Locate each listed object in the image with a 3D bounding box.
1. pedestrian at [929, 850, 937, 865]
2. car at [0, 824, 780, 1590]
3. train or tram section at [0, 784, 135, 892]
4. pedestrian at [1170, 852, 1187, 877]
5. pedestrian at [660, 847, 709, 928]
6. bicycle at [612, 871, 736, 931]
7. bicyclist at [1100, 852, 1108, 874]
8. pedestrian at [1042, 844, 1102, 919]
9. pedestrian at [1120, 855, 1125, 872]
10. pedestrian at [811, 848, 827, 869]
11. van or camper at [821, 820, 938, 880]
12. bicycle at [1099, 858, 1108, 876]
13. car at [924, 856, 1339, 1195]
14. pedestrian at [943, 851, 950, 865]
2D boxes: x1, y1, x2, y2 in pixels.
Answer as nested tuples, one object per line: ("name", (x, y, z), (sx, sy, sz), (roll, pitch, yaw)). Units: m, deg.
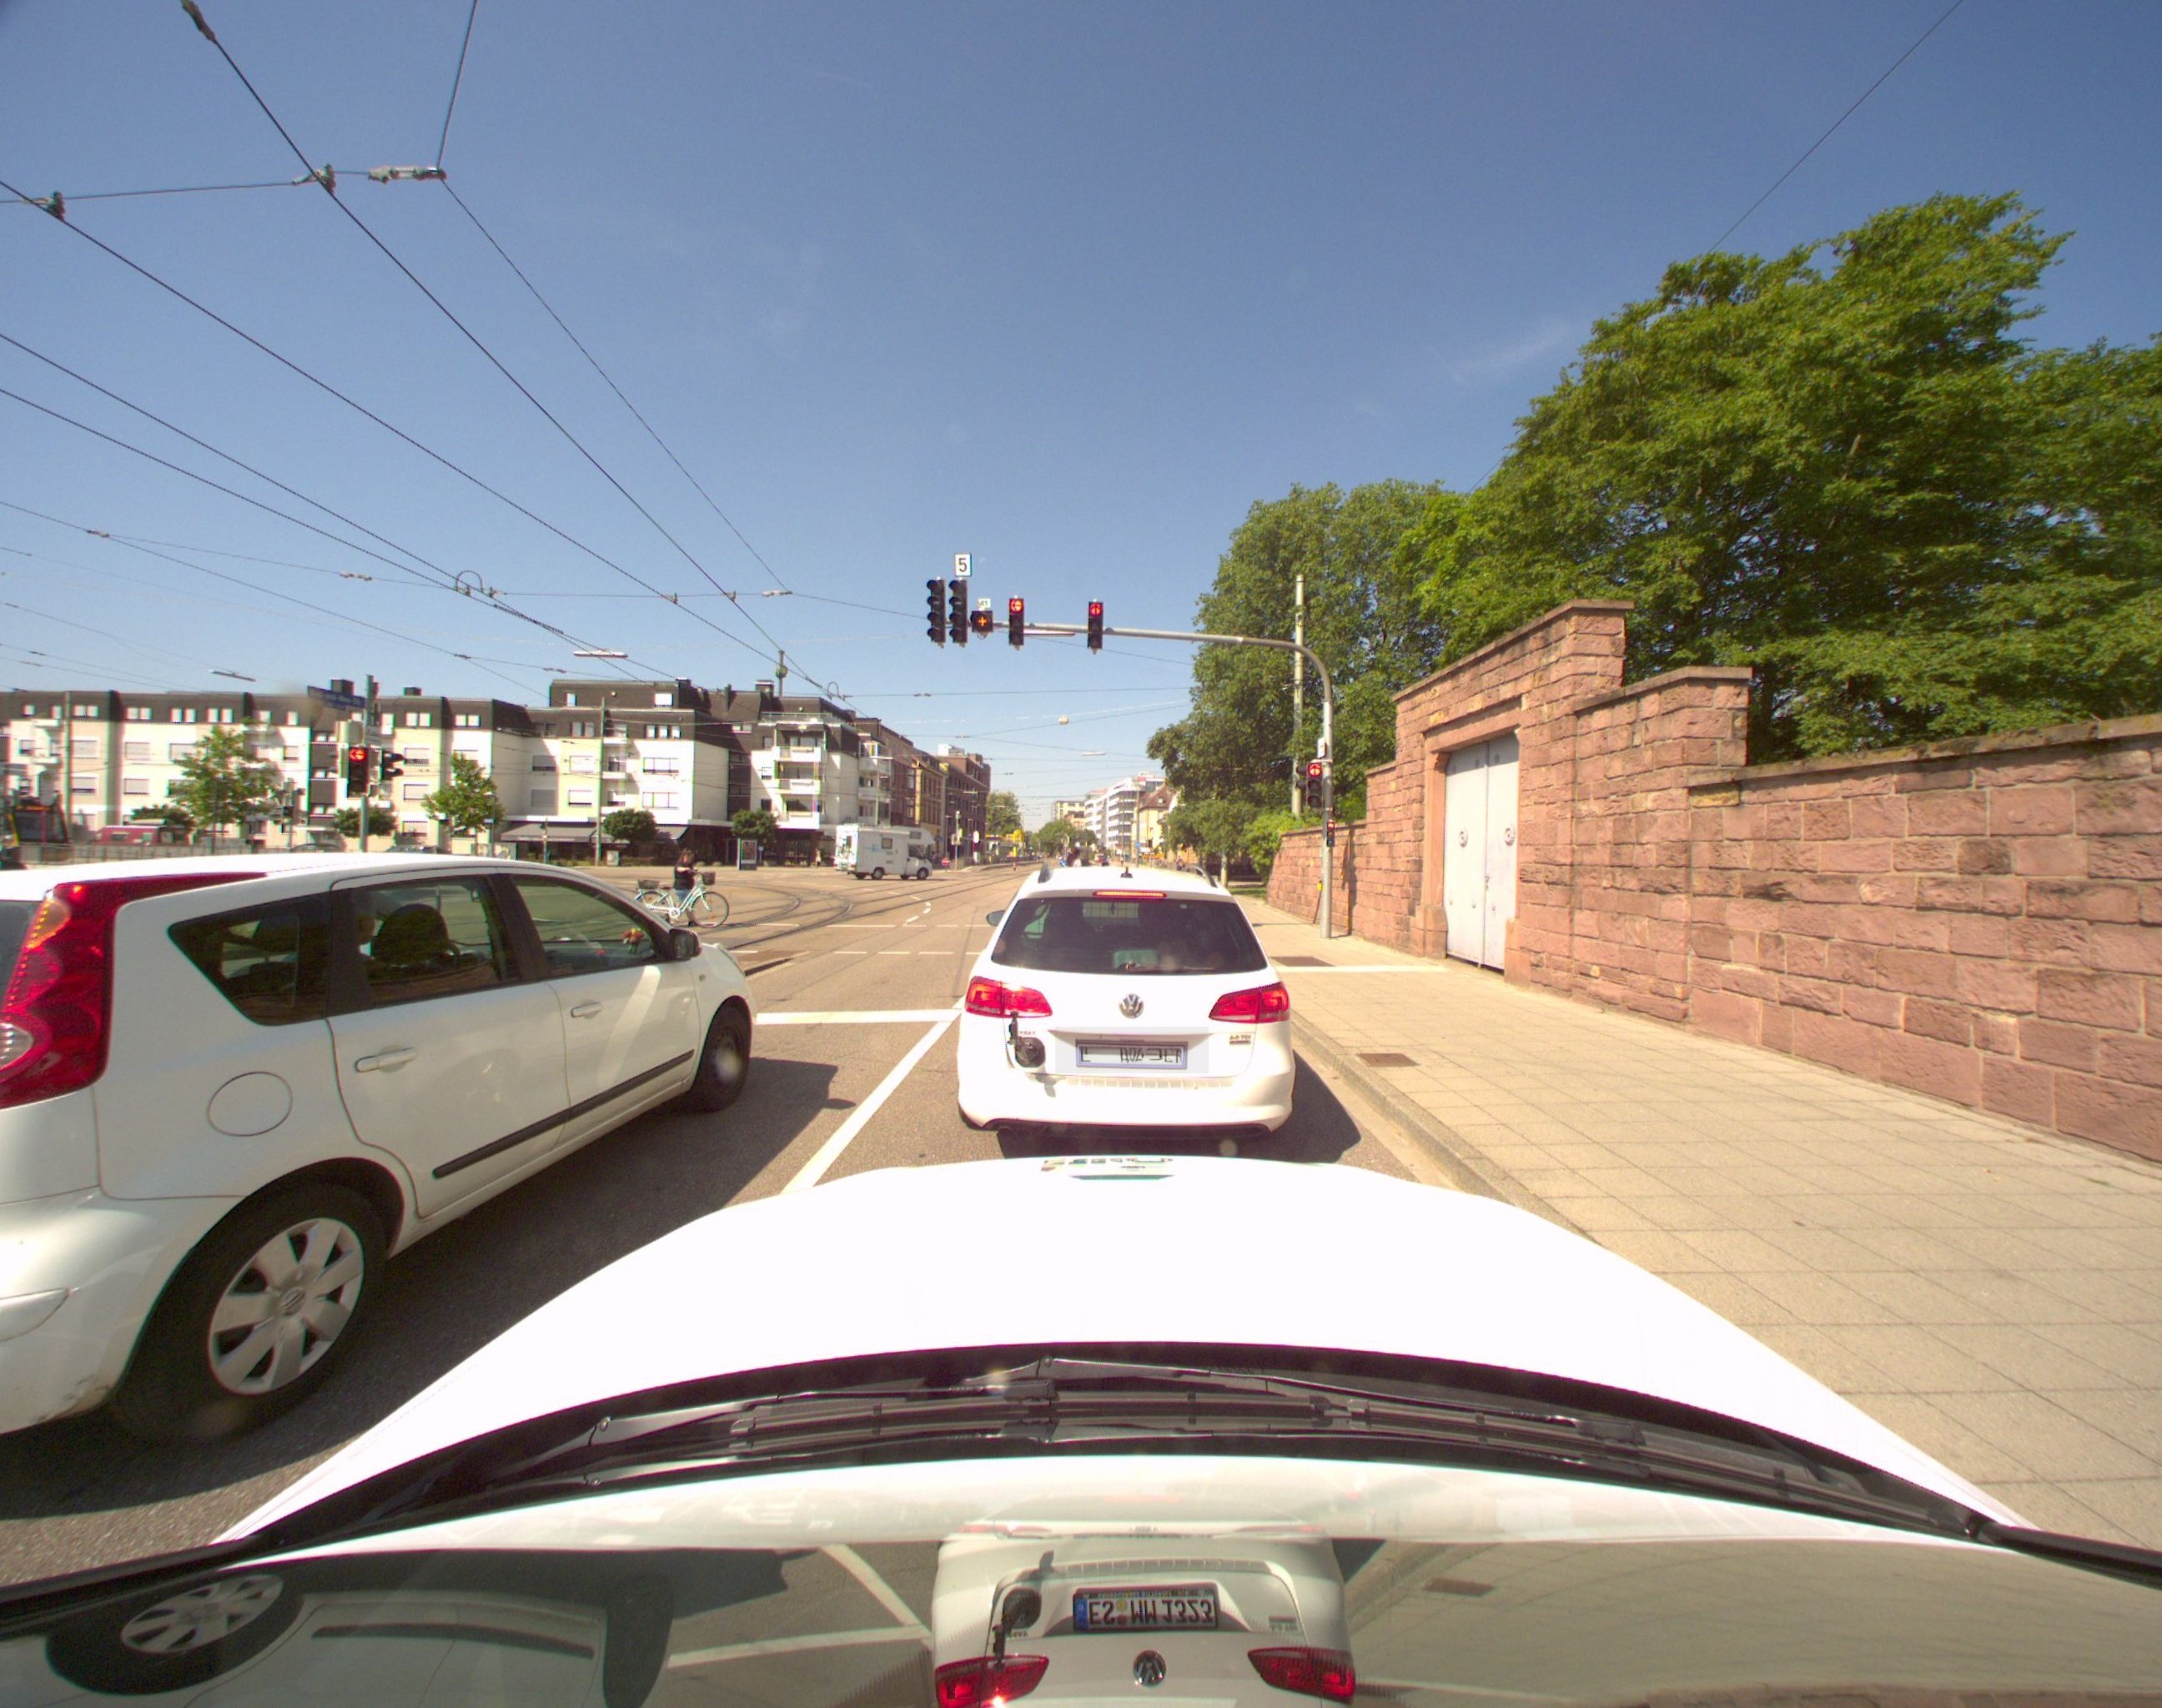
("pedestrian", (-17.655, 0.394, 97.286), (0.860, 1.743, 0.973), (-1, -1, -4))
("car", (-2.904, 0.706, 3.569), (1.636, 1.566, 3.805), (-1, 1, 1))
("train or tram section", (-59.118, -0.603, 41.513), (16.149, 5.150, 4.735), (-1, -1, 0))
("pedestrian", (6.945, 0.773, 58.069), (0.865, 1.743, 0.967), (0, -1, -23))
("pedestrian", (-7.937, 0.659, 16.323), (0.746, 1.571, 0.672), (-1, 0, -13))
("bicycle", (-7.843, 0.898, 15.794), (2.021, 1.090, 0.707), (1, 0, -13))
("bicyclist", (1.737, 0.694, 61.742), (0.558, 1.613, 0.639), (-1, -1, 4))
("pedestrian", (-0.211, 0.618, 18.667), (0.944, 1.651, 0.980), (-2, -2, 44))
("pedestrian", (6.110, 1.395, 118.878), (0.687, 2.325, 1.233), (-1, -1, 3))
("pedestrian", (-22.105, 0.368, 68.660), (0.853, 1.743, 0.981), (-2, -2, 44))
("van or camper", (-11.018, -0.172, 44.850), (5.735, 3.093, 2.543), (0, -2, -44))
("bicycle", (1.739, 0.975, 61.685), (0.555, 1.297, 2.252), (-1, -1, 5))
("car", (0.276, 0.752, 5.555), (1.801, 1.448, 4.001), (0, 0, 1))
("pedestrian", (-17.030, 0.492, 103.085), (0.860, 1.743, 0.973), (-1, -1, -4))
